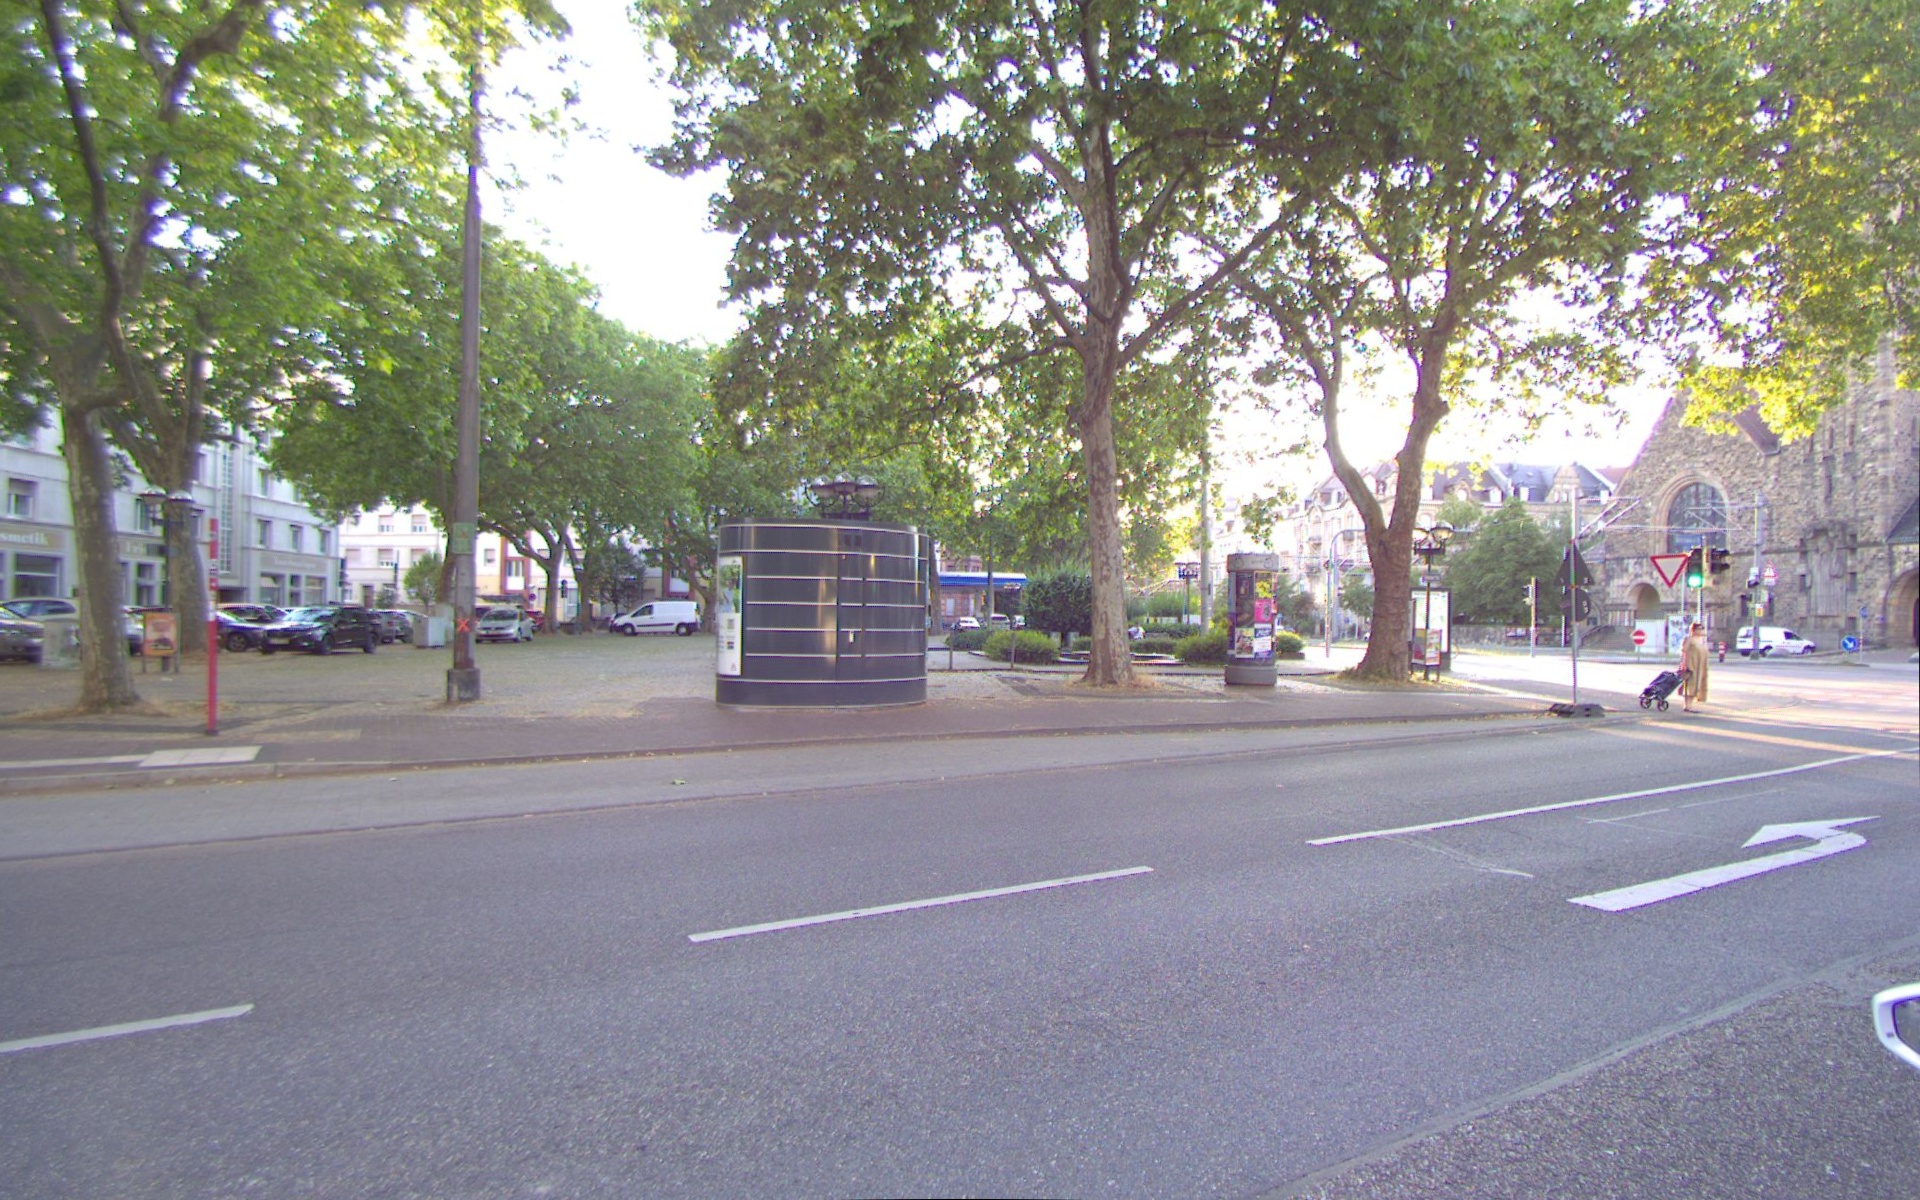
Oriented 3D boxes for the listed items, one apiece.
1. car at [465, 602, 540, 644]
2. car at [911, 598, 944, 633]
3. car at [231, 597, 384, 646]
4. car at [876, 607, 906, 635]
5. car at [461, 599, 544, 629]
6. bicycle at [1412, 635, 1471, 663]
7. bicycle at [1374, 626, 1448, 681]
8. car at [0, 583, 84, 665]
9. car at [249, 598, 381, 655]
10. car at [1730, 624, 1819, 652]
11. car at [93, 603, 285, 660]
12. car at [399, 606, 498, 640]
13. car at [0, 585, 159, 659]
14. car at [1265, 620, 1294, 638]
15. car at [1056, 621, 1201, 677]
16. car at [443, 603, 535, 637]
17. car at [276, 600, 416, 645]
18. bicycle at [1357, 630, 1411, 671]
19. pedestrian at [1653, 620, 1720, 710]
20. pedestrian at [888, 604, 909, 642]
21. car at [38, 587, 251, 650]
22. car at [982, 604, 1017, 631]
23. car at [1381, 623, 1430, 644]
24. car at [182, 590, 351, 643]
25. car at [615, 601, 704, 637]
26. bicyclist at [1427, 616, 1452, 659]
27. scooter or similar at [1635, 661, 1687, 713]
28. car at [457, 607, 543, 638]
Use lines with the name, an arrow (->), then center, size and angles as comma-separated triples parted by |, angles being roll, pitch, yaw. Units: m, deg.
car -> -19.783, 0.981, 43.584 | 1.642, 1.684, 3.760 | 2, 0, -4
car -> -2.368, 1.085, 72.561 | 1.963, 2.374, 3.995 | 2, 0, -7
car -> -25.287, 0.834, 39.103 | 4.557, 1.805, 1.997 | -1, -2, -10
car -> -5.013, 1.508, 72.315 | 1.882, 1.873, 3.995 | 2, 0, -7
car -> -28.286, 0.868, 62.285 | 4.572, 1.758, 1.990 | 0, -2, -22
bicycle -> 21.237, 2.167, 44.320 | 2.199, 1.093, 0.659 | 1, 5, 13
bicycle -> 11.333, 1.351, 25.235 | 1.967, 1.344, 0.523 | 2, 0, -26
car -> -23.115, 0.572, 22.723 | 4.557, 1.805, 1.997 | -1, -2, -10
car -> -19.213, 0.798, 30.103 | 1.642, 1.549, 3.760 | 2, -1, -4
car -> 50.973, 2.382, 62.913 | 4.372, 1.537, 1.718 | 2, 0, -6
car -> -25.105, 1.014, 32.872 | 4.557, 1.758, 1.997 | -1, -2, -10
car -> -27.711, 1.252, 54.565 | 4.572, 1.758, 1.990 | 0, -2, -22
car -> -23.673, 0.583, 25.694 | 4.557, 1.805, 1.997 | -1, -2, -10
car -> 34.093, 3.072, 107.257 | 1.960, 1.706, 4.002 | 2, 0, 4
car -> 5.759, 1.667, 34.660 | 4.552, 1.805, 1.999 | -1, -2, -5
car -> -26.899, 1.141, 57.519 | 4.578, 1.834, 1.992 | 0, -2, -20
car -> -25.691, 0.943, 42.190 | 4.557, 1.758, 1.997 | -1, -2, -10
bicycle -> 11.948, 1.433, 28.263 | 1.780, 1.107, 0.455 | 2, 0, -33
pedestrian -> 13.888, 1.225, 19.196 | 0.766, 1.649, 0.796 | 2, 0, -35
pedestrian -> -2.792, 1.040, 45.468 | 0.869, 1.694, 0.740 | 2, 0, -8
car -> -24.444, 0.561, 30.292 | 4.557, 1.805, 1.997 | -1, -2, -10
car -> 2.859, 1.237, 73.318 | 1.882, 1.873, 3.995 | 2, 0, -7
car -> 37.422, 2.820, 84.415 | 1.963, 1.639, 3.996 | 1, -3, -7
car -> -25.097, 0.599, 36.516 | 4.557, 1.805, 2.090 | -1, -2, -10
car -> -16.848, 1.067, 56.443 | 4.557, 1.964, 1.997 | -1, -2, -10
bicyclist -> 21.155, 1.667, 44.309 | 0.842, 1.852, 0.659 | -1, 1, 12
scooter or similar -> 13.125, 1.612, 18.800 | 0.845, 0.910, 0.586 | 2, 0, -41
car -> -27.376, 1.325, 59.931 | 4.572, 1.758, 1.990 | 0, -2, -22
